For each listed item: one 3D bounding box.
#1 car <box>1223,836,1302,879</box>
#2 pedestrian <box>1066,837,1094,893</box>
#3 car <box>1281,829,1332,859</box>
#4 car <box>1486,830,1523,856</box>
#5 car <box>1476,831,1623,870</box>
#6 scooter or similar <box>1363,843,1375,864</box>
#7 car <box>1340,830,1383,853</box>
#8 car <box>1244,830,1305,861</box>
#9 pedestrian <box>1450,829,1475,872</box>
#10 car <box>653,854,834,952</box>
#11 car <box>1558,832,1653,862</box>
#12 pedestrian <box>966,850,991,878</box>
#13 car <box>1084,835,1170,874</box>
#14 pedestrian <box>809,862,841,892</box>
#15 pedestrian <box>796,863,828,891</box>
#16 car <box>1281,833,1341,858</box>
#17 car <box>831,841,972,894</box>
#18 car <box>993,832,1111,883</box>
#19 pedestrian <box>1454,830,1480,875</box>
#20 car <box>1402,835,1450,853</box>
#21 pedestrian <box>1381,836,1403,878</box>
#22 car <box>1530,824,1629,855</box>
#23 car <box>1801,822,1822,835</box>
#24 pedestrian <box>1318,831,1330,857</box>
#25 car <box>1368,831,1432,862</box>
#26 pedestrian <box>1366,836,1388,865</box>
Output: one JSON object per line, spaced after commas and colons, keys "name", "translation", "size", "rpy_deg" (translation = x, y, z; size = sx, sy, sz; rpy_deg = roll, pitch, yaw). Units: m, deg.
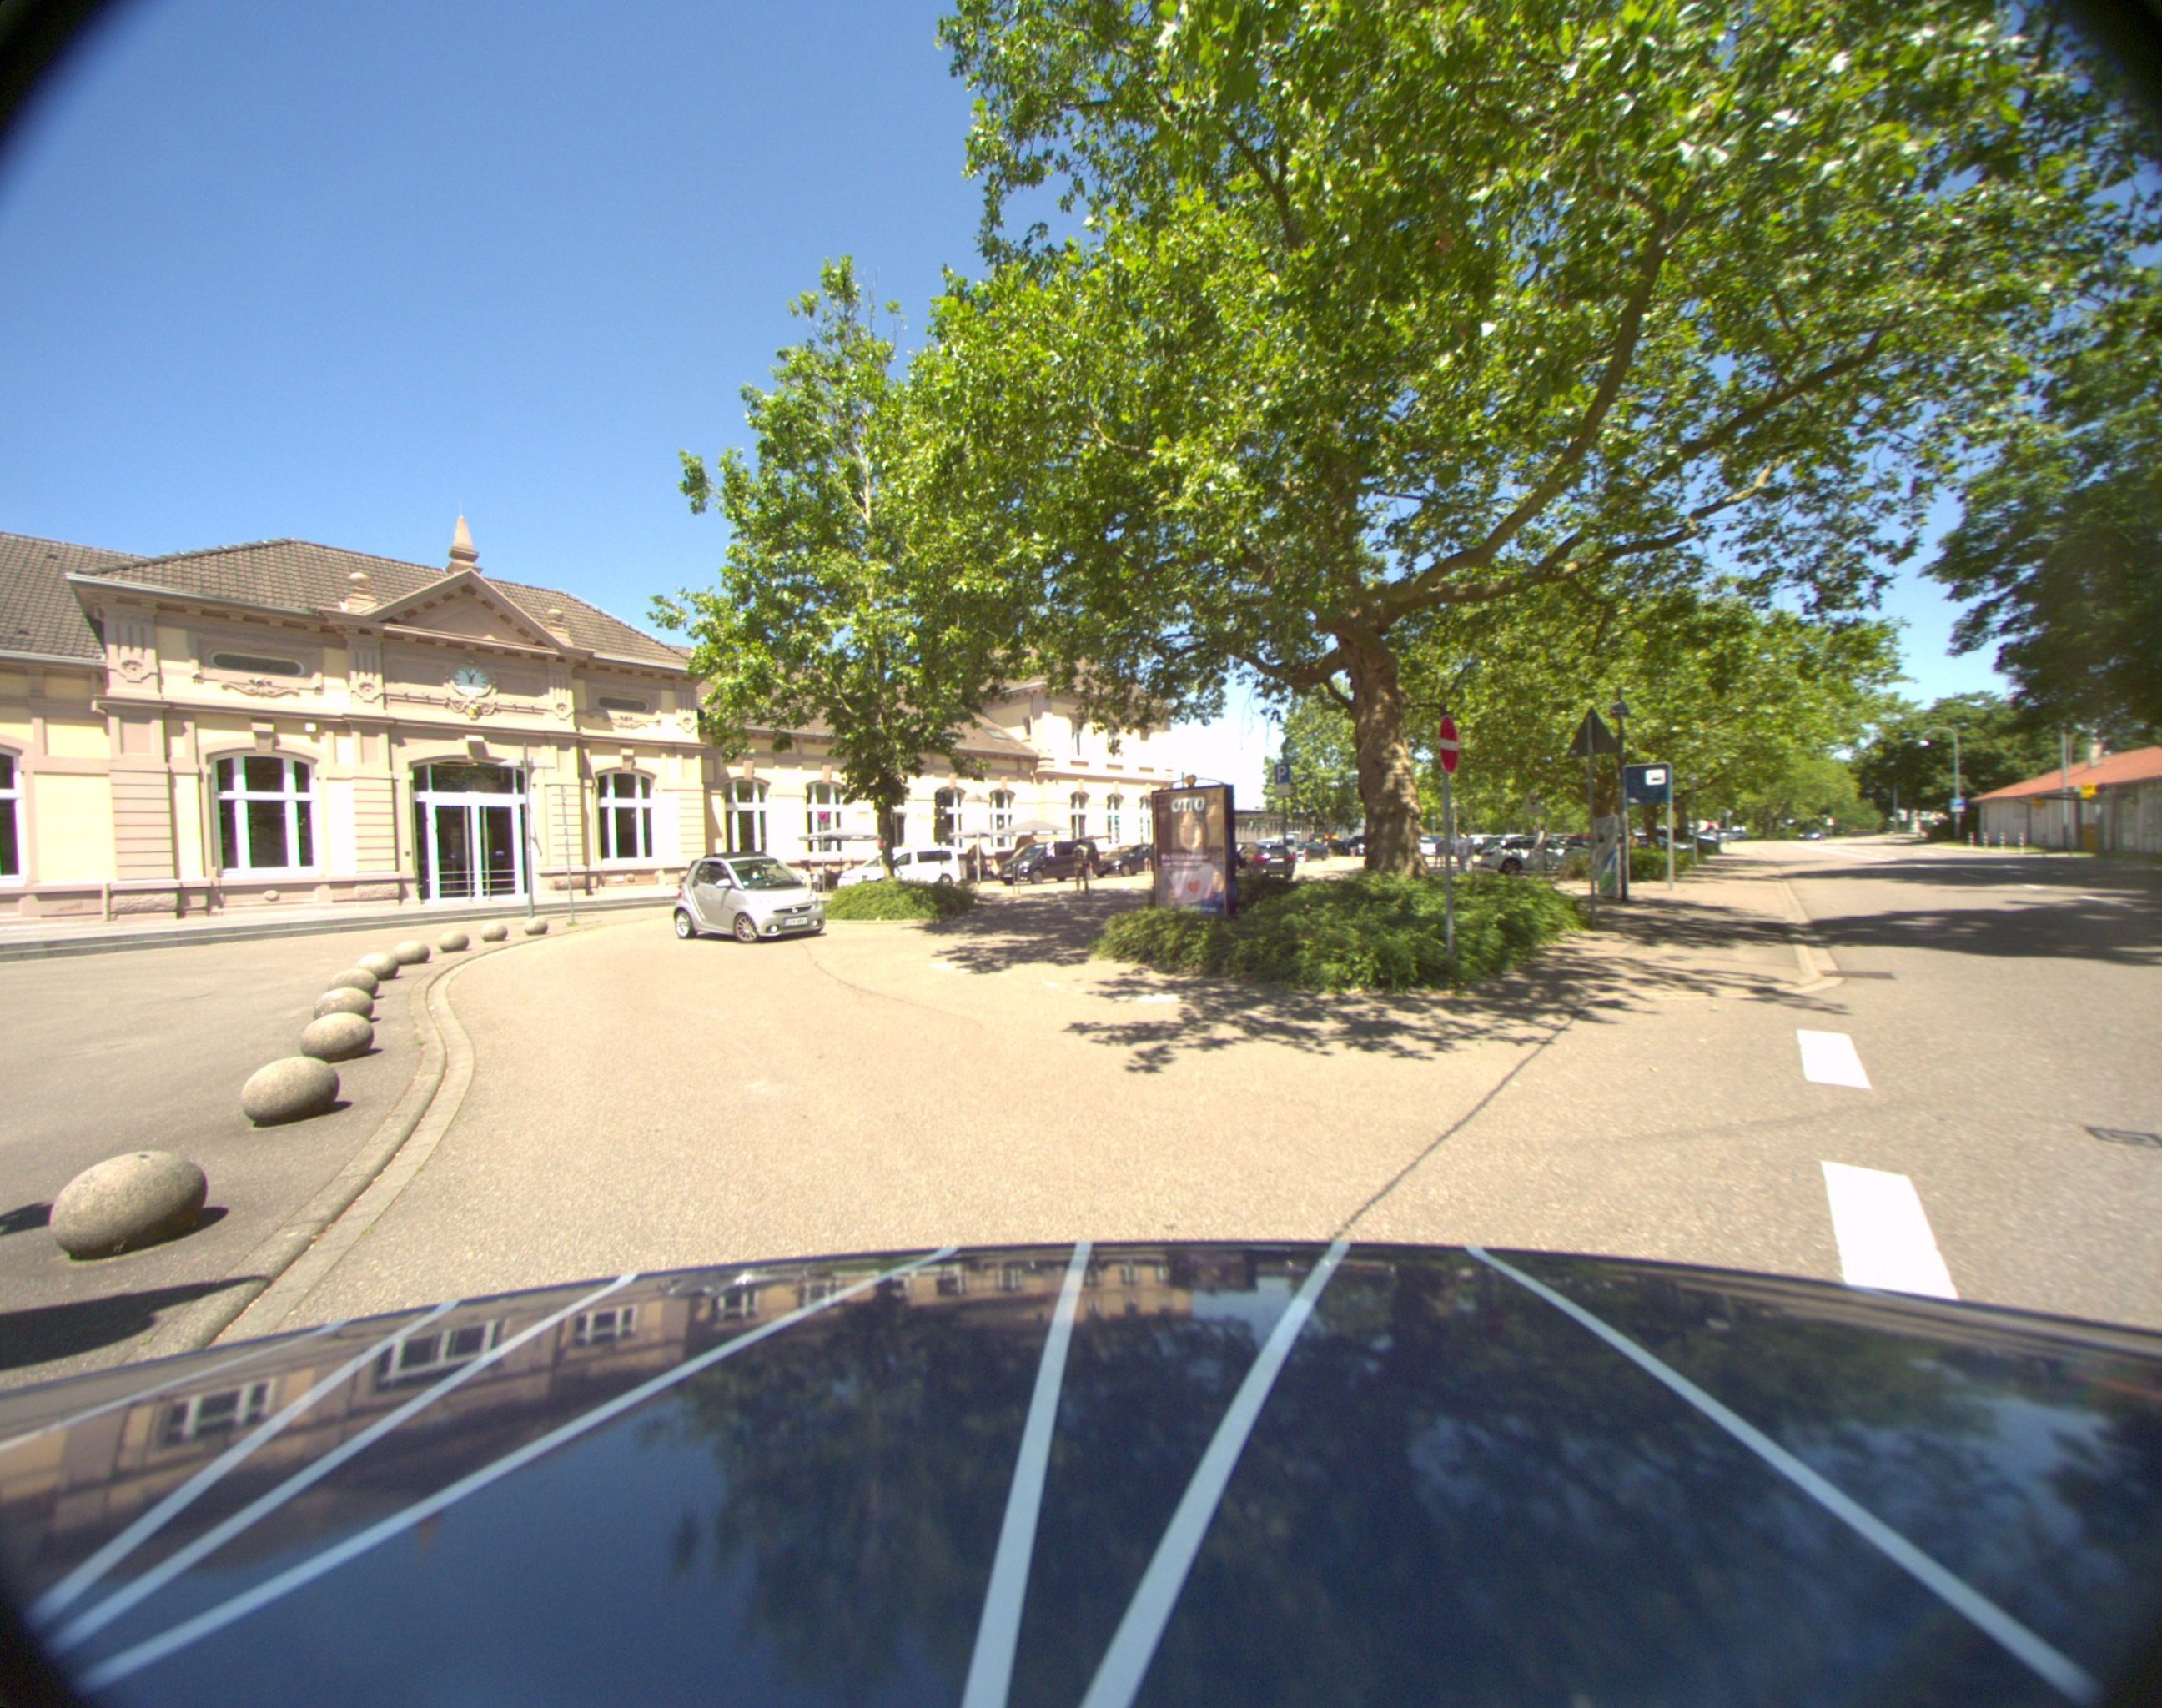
{"name": "car", "translation": [7.388, 0.070, 31.421], "size": [1.800, 1.534, 4.526], "rpy_deg": [-3, 2, -4]}
{"name": "pedestrian", "translation": [-0.030, 0.339, 23.759], "size": [0.773, 1.707, 0.814], "rpy_deg": [-2, 1, -5]}
{"name": "car", "translation": [16.580, -0.736, 55.668], "size": [1.999, 1.978, 4.611], "rpy_deg": [-3, 0, 37]}
{"name": "car", "translation": [32.503, -0.881, 58.440], "size": [1.735, 1.883, 4.005], "rpy_deg": [-1, 1, 18]}
{"name": "car", "translation": [18.506, -0.132, 30.307], "size": [4.767, 1.409, 1.789], "rpy_deg": [-1, 1, 23]}
{"name": "scooter or similar", "translation": [15.000, -0.013, 39.562], "size": [0.438, 1.095, 0.402], "rpy_deg": [-2, 1, -14]}
{"name": "car", "translation": [24.920, -1.118, 67.448], "size": [1.995, 1.779, 4.255], "rpy_deg": [-4, 0, 43]}
{"name": "car", "translation": [13.008, -0.588, 50.832], "size": [1.999, 1.829, 5.328], "rpy_deg": [-3, 0, 37]}
{"name": "pedestrian", "translation": [15.829, -0.146, 31.543], "size": [0.837, 1.760, 0.853], "rpy_deg": [-1, 2, 23]}
{"name": "car", "translation": [-6.276, 0.837, 14.078], "size": [3.098, 1.584, 1.605], "rpy_deg": [-1, 1, 34]}
{"name": "car", "translation": [28.083, -0.390, 40.800], "size": [3.869, 1.452, 1.638], "rpy_deg": [-1, 1, 14]}
{"name": "pedestrian", "translation": [-5.198, 0.478, 38.398], "size": [0.879, 1.364, 0.853], "rpy_deg": [1, 3, 38]}
{"name": "car", "translation": [2.459, 0.006, 39.476], "size": [2.075, 1.829, 4.850], "rpy_deg": [-2, 0, 37]}
{"name": "pedestrian", "translation": [-10.385, 0.908, 30.826], "size": [0.879, 1.155, 0.853], "rpy_deg": [1, 3, 38]}
{"name": "pedestrian", "translation": [-11.118, 0.950, 31.413], "size": [0.879, 1.074, 0.853], "rpy_deg": [1, 3, 38]}
{"name": "car", "translation": [21.894, -0.773, 72.378], "size": [4.952, 2.108, 2.055], "rpy_deg": [-3, 0, 40]}
{"name": "car", "translation": [-6.719, 0.459, 29.055], "size": [1.810, 1.855, 5.149], "rpy_deg": [-2, 0, 40]}
{"name": "car", "translation": [-1.184, 0.123, 34.599], "size": [2.088, 2.112, 5.837], "rpy_deg": [-2, 0, 37]}
{"name": "pedestrian", "translation": [15.512, -0.074, 30.550], "size": [0.837, 1.760, 0.853], "rpy_deg": [-1, 1, 22]}
{"name": "car", "translation": [27.232, -0.774, 60.096], "size": [1.803, 1.395, 3.510], "rpy_deg": [-2, 1, -8]}
{"name": "pedestrian", "translation": [11.766, 0.102, 28.768], "size": [0.612, 1.539, 0.588], "rpy_deg": [-3, 2, -44]}
{"name": "car", "translation": [25.070, -0.719, 38.338], "size": [3.869, 1.452, 1.638], "rpy_deg": [-1, 1, 14]}
{"name": "car", "translation": [85.835, -3.043, 89.226], "size": [3.458, 1.368, 1.658], "rpy_deg": [-3, -1, -45]}
{"name": "pedestrian", "translation": [18.415, -0.752, 57.579], "size": [0.627, 1.978, 0.618], "rpy_deg": [-3, 0, 37]}
{"name": "car", "translation": [18.323, -0.461, 43.835], "size": [1.800, 1.596, 4.061], "rpy_deg": [-3, 2, -3]}
{"name": "pedestrian", "translation": [15.188, -0.178, 38.985], "size": [0.801, 1.416, 0.690], "rpy_deg": [-2, 1, -14]}
